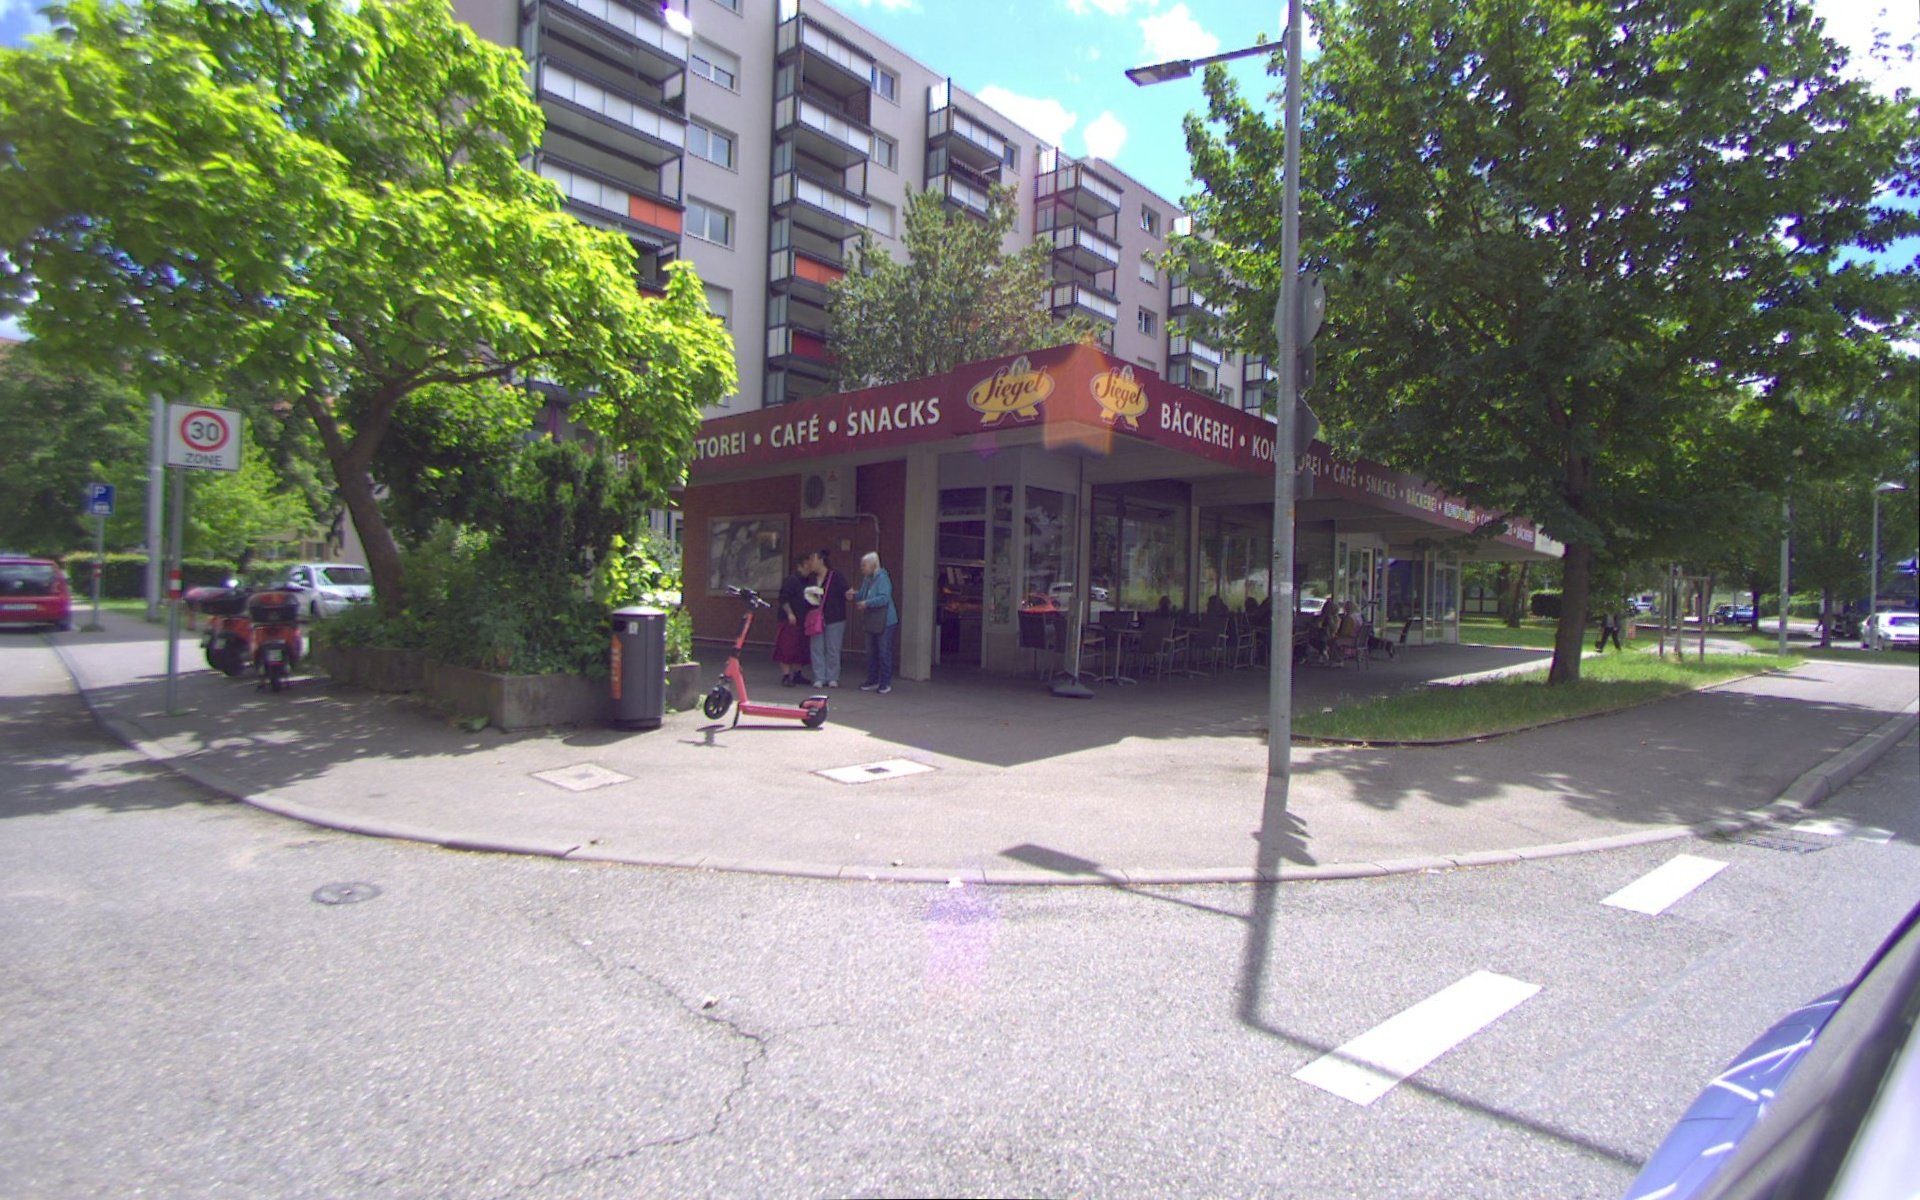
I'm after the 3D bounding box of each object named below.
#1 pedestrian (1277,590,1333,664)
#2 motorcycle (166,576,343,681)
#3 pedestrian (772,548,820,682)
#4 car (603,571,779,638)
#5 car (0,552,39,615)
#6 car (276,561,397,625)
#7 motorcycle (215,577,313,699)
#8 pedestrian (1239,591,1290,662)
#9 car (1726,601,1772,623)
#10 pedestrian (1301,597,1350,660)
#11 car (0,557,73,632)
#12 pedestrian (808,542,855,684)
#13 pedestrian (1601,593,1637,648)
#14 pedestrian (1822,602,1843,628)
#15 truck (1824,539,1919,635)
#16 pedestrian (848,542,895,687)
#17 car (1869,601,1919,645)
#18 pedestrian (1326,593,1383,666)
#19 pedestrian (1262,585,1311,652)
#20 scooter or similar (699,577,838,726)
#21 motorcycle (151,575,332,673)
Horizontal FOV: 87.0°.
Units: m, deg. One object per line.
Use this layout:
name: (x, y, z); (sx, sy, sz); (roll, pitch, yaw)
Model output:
pedestrian: (6.343, 0.489, 18.612); (0.671, 1.282, 0.814); (4, 2, 40)
motorcycle: (-8.980, 0.311, 13.012); (0.726, 1.210, 2.137); (1, 1, 2)
pedestrian: (-1.967, 0.177, 12.135); (0.522, 1.571, 0.512); (1, 0, -9)
car: (-5.989, 0.090, 22.739); (1.743, 1.359, 3.435); (2, 1, 43)
car: (-25.148, -0.457, 26.216); (3.833, 1.571, 1.615); (2, 1, 44)
car: (-15.492, -0.201, 25.094); (3.478, 1.456, 1.722); (2, 1, 44)
motorcycle: (-7.698, 0.367, 11.276); (0.725, 1.210, 2.141); (1, 1, -30)
pedestrian: (5.823, 0.488, 19.362); (0.675, 1.282, 0.664); (4, 3, 42)
car: (52.987, 0.776, 68.063); (1.793, 1.371, 3.959); (2, 1, 29)
pedestrian: (7.173, 0.548, 19.868); (0.671, 1.165, 0.668); (4, 3, 40)
car: (-19.822, -0.152, 21.157); (3.478, 1.456, 1.613); (2, 1, 44)
pedestrian: (-1.527, 0.143, 12.030); (0.436, 1.652, 0.399); (1, 0, 9)
pedestrian: (19.019, 0.581, 29.219); (0.643, 1.557, 0.725); (1, 1, -44)
pedestrian: (50.027, 0.872, 58.044); (0.904, 1.442, 0.691); (1, 1, -36)
truck: (43.754, -0.582, 48.160); (2.612, 4.144, 9.497); (2, 1, 32)
pedestrian: (-1.030, 0.160, 11.828); (0.436, 1.652, 0.399); (1, 0, 9)
car: (35.163, 0.826, 37.287); (1.748, 1.542, 3.783); (2, 1, 31)
pedestrian: (7.305, 0.536, 18.768); (0.661, 1.282, 0.678); (1, 3, -36)
pedestrian: (6.572, 0.364, 20.381); (0.671, 1.282, 0.668); (4, 3, 40)
scooter or similar: (-1.750, 0.466, 9.312); (1.206, 1.324, 0.378); (1, 0, -8)
motorcycle: (-9.765, 0.275, 13.872); (0.728, 1.210, 2.133); (1, 2, 10)
